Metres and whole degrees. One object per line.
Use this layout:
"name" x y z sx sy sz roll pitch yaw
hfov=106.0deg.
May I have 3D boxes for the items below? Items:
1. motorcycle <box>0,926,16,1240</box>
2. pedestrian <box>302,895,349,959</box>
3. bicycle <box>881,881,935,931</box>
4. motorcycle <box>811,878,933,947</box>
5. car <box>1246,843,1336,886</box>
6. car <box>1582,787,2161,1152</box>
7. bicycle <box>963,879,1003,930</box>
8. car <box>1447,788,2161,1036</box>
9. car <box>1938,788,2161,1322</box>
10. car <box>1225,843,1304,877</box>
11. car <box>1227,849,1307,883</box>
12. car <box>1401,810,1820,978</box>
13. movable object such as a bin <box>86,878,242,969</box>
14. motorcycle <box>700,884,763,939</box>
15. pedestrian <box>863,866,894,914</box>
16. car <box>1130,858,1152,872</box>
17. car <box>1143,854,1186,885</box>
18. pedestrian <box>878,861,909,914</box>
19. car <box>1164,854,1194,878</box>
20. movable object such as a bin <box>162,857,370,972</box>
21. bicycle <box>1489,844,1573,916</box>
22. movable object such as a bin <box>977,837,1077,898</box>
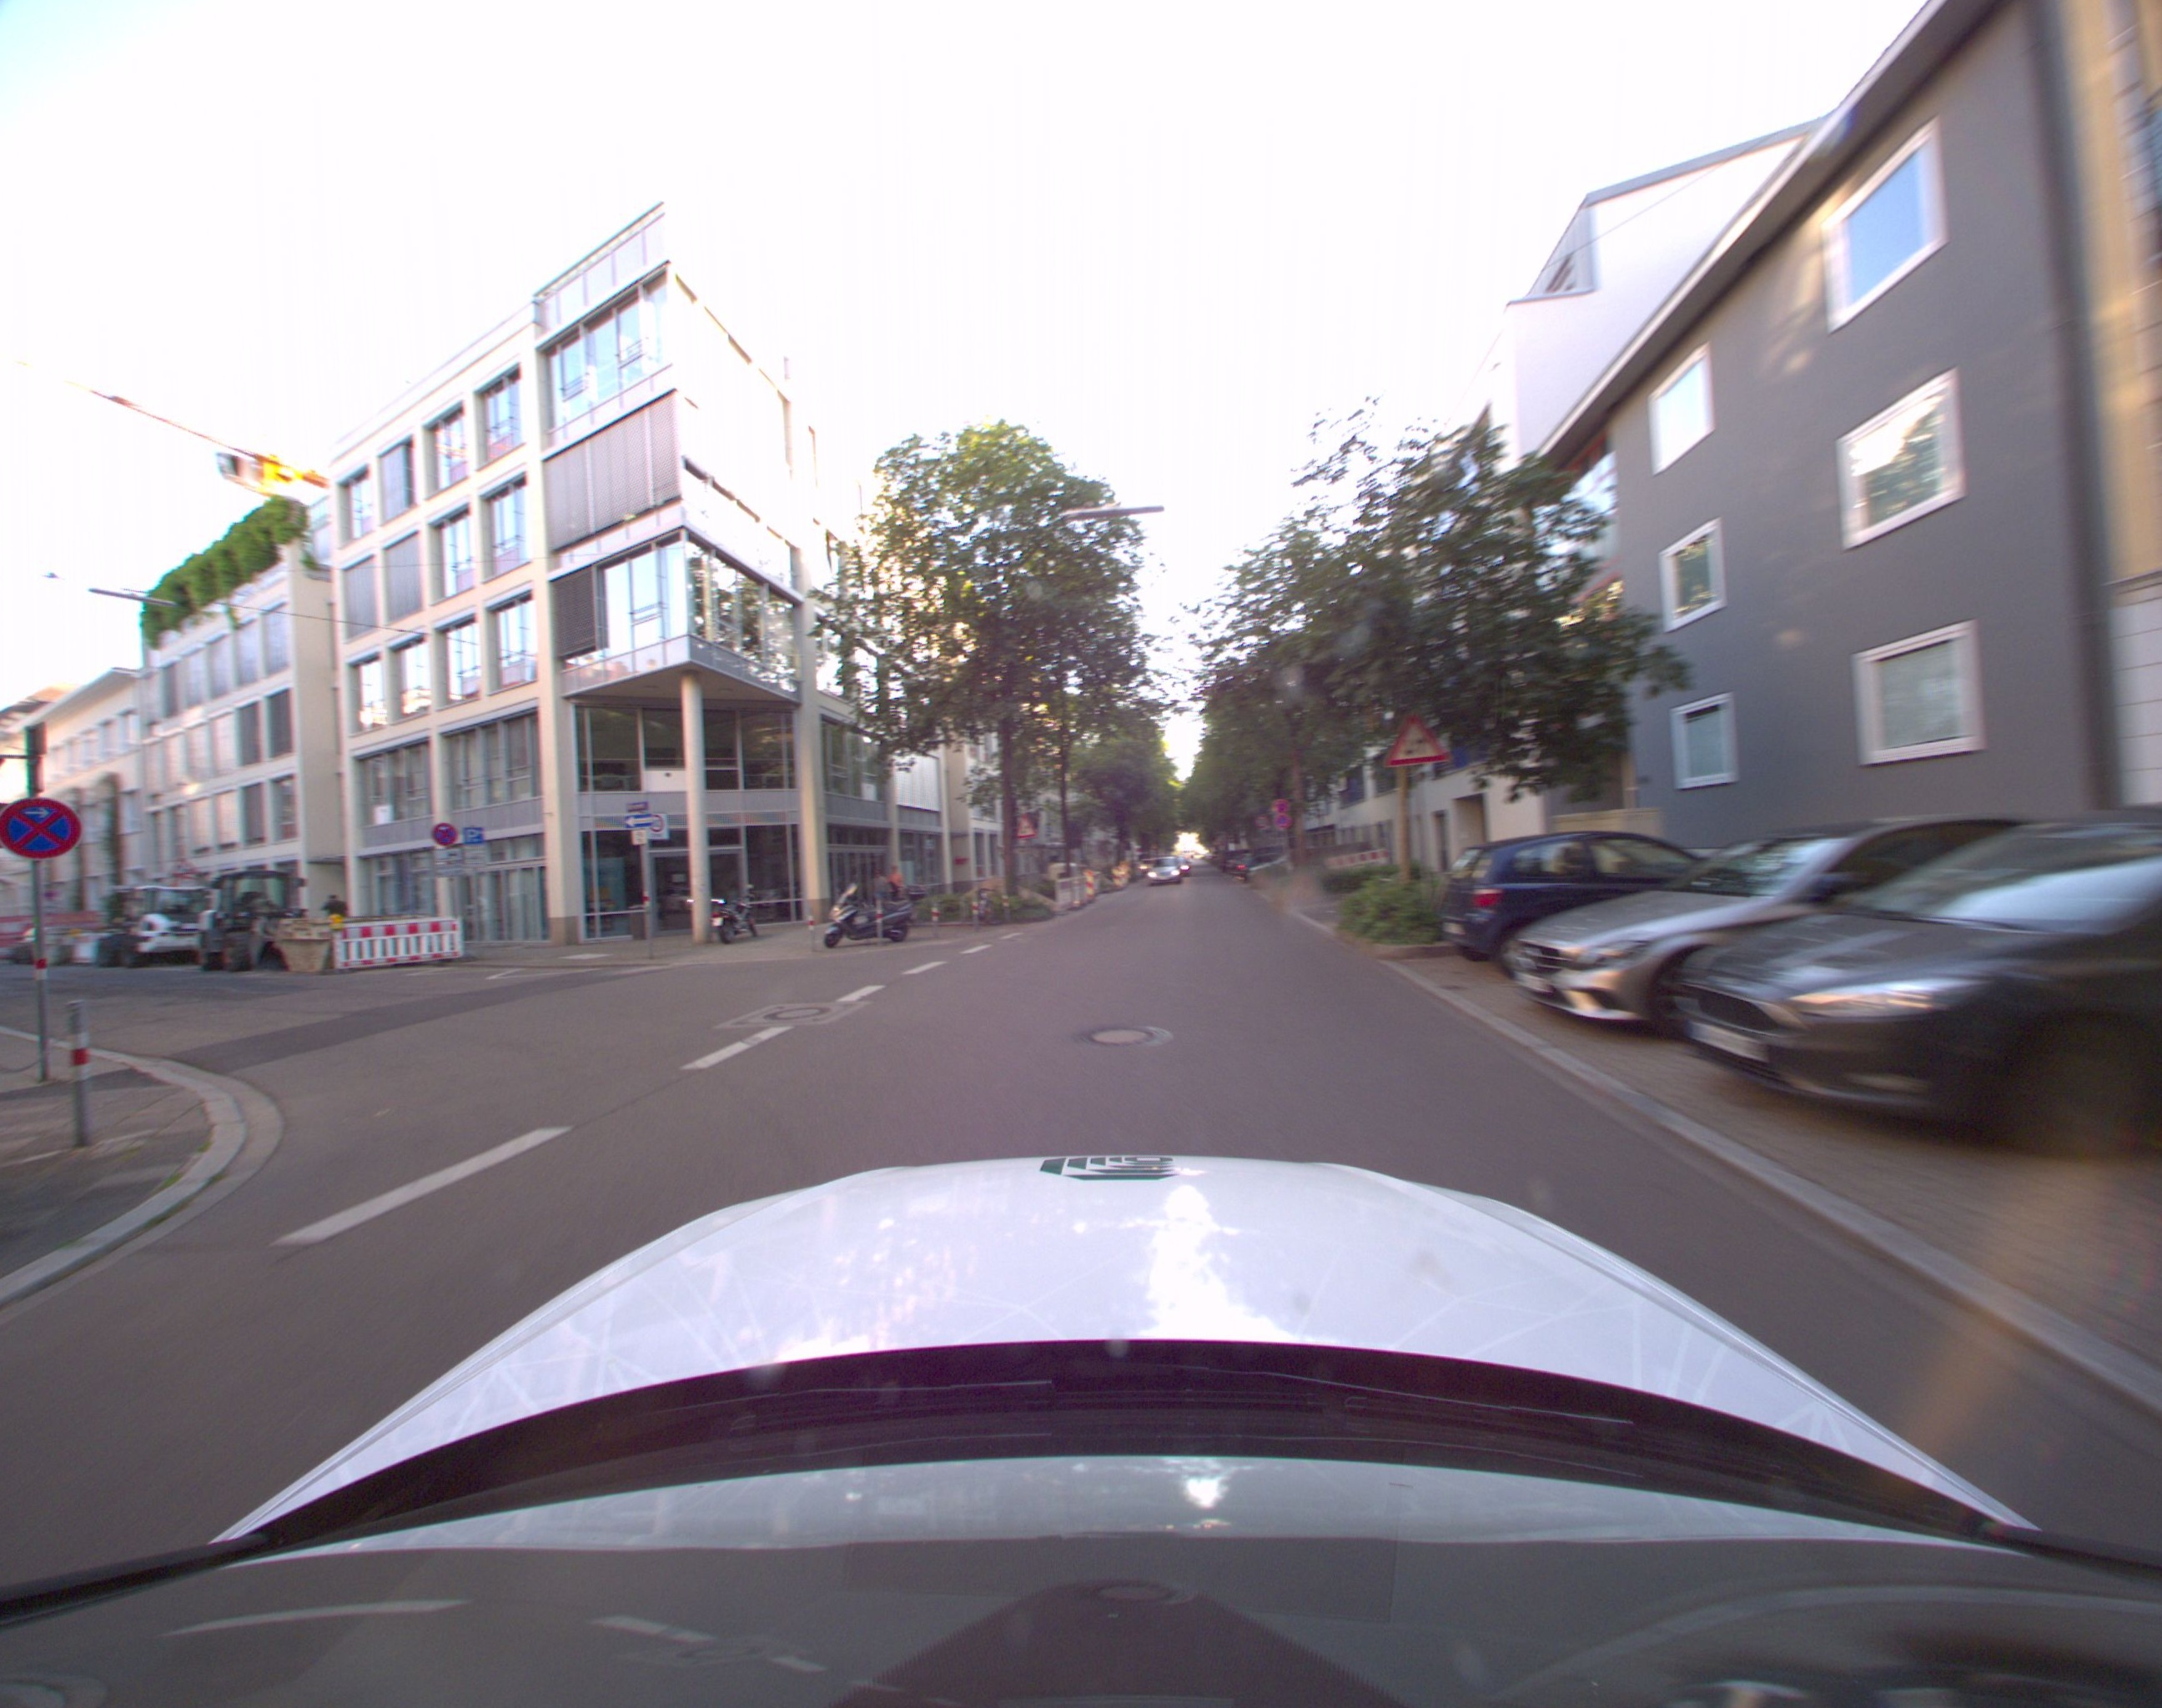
"motorcycle" -6.097 1.119 4.086 2.225 1.420 0.858 -4 -1 38
"pedestrian" -23.191 2.208 24.985 0.865 1.851 0.896 -4 -1 40
"bicycle" -4.576 1.346 21.703 0.679 1.152 1.986 -3 0 8
"motorcycle" -4.630 1.259 18.081 2.366 1.281 1.056 -3 0 -33
"car" 9.939 0.510 38.859 3.961 1.805 2.006 -3 -1 11
"car" 5.657 0.432 4.242 4.755 1.520 1.996 -3 0 8
"bicycle" -2.563 1.302 21.484 0.680 1.152 1.982 -3 0 2
"car" 5.742 0.423 6.648 4.597 1.571 2.015 -3 0 6
"car" 5.238 0.408 1.666 4.599 1.502 1.964 -4 -1 5
"car" 11.758 0.375 52.369 4.714 2.013 2.004 -2 0 6
"car" 9.860 0.626 43.488 3.963 1.585 2.005 -3 -1 9
"car" 5.779 0.432 9.329 3.520 1.564 1.835 -3 -1 7
"movable object such as a bin" -29.252 2.185 25.981 4.046 2.540 2.298 -3 0 28
"motorcycle" -8.589 1.378 20.120 0.555 1.172 2.306 -3 0 -2
"pedestrian" -6.815 1.207 27.402 0.765 1.536 0.644 -3 -1 7
"car" 5.889 1.067 80.362 1.985 1.288 4.003 -3 0 3
"car" 4.920 0.865 47.532 1.997 1.613 4.133 -3 0 11
"pedestrian" -6.200 1.101 26.999 0.735 1.690 0.608 -3 -1 8
"car" 7.756 0.897 64.617 1.942 1.713 4.705 -4 0 3
"movable object such as a bin" -21.872 1.594 21.818 5.577 2.692 2.298 -3 0 28
"bicycle" 8.478 0.463 15.434 0.822 1.235 1.809 -4 0 11
"movable object such as a bin" -2.298 0.563 36.119 4.031 2.383 2.785 -3 0 1
